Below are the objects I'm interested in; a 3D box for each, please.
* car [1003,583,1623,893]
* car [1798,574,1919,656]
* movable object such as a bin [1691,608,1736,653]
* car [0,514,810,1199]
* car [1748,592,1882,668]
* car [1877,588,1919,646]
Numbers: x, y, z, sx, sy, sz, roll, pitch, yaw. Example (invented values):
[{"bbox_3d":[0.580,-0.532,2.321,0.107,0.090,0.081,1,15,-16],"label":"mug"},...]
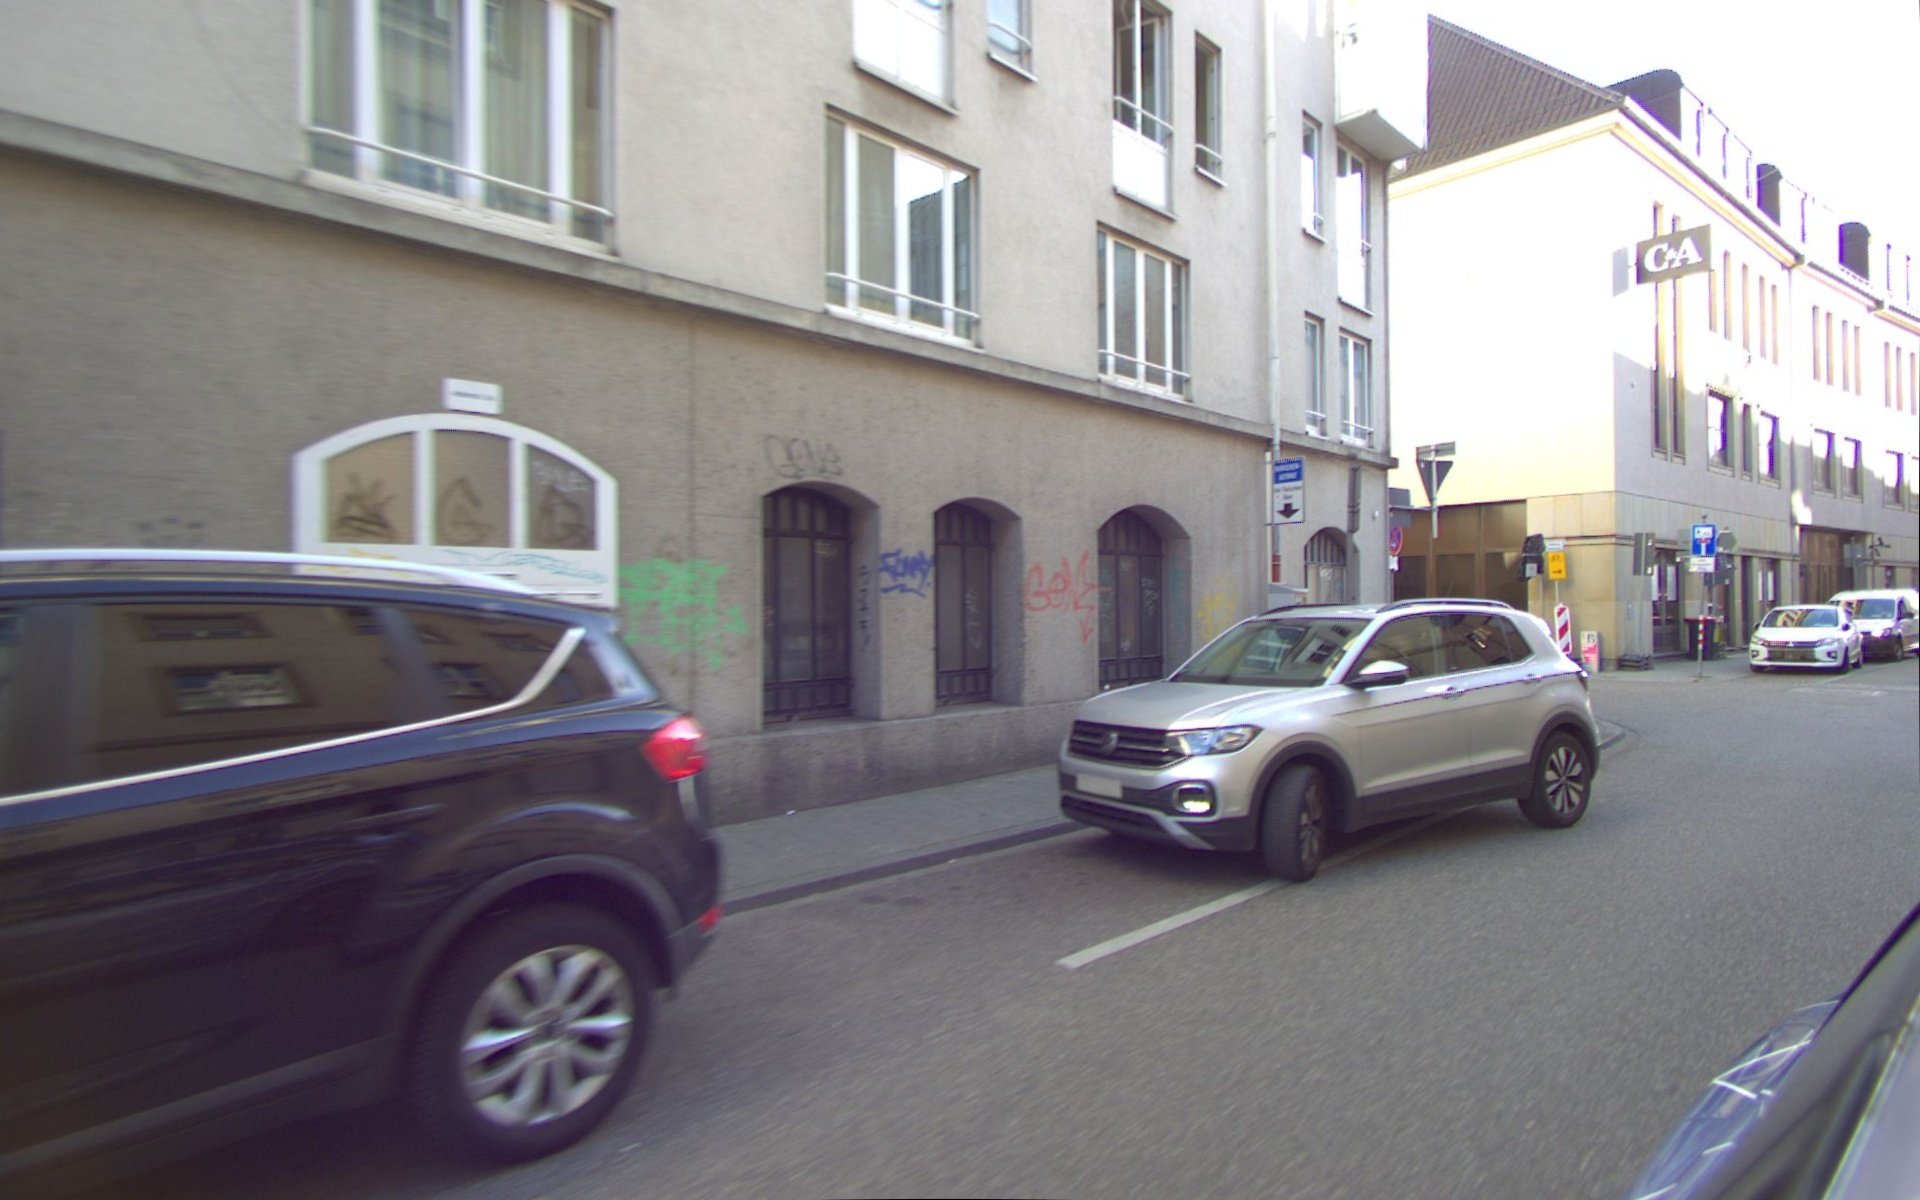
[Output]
[{"bbox_3d":[2.450,0.709,6.930,3.906,1.579,1.833,-1,-1,-29],"label":"car"},{"bbox_3d":[24.077,0.385,26.522,5.098,1.886,1.947,-1,-5,-36],"label":"car"},{"bbox_3d":[18.820,0.749,25.279,0.913,1.100,0.687,0,-2,-40],"label":"movable object such as a bin"},{"bbox_3d":[-2.715,0.689,2.483,4.419,1.676,1.826,0,-2,-44],"label":"car"},{"bbox_3d":[19.344,0.636,22.849,3.931,1.568,1.733,0,-2,-42],"label":"car"},{"bbox_3d":[28.960,0.442,30.018,3.784,1.605,1.775,-1,-5,-36],"label":"car"}]
